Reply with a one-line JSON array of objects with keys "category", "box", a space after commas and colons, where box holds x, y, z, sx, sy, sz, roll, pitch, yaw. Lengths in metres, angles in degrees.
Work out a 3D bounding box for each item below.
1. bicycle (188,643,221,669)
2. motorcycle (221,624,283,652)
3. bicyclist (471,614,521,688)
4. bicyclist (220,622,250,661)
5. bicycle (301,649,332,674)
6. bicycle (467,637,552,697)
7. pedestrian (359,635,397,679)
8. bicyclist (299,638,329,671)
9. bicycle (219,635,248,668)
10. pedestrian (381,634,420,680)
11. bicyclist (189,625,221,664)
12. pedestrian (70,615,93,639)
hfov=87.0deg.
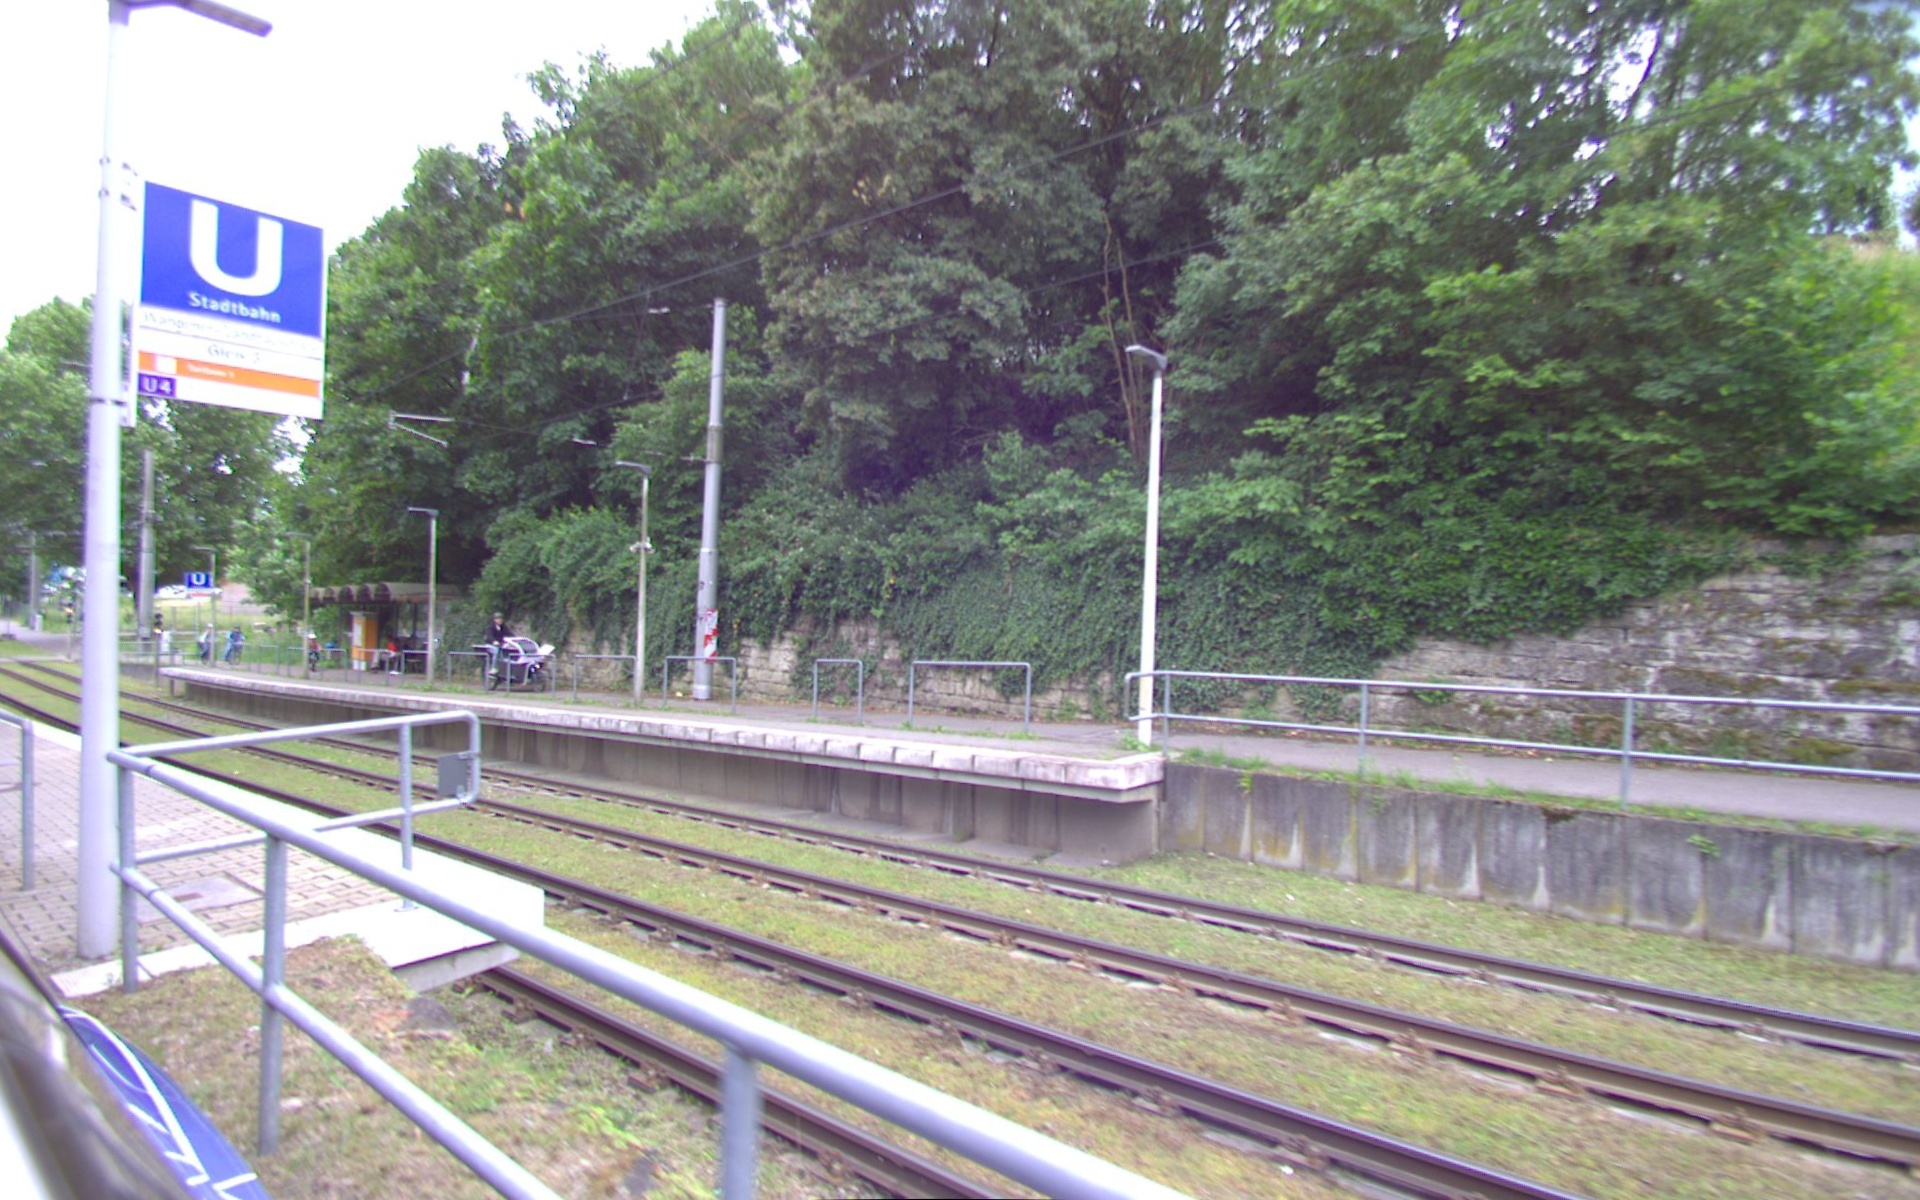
[{"category": "bicycle", "box": [-28.907, 2.139, 38.693, 1.840, 0.932, 0.473, -3, -2, 36]}, {"category": "motorcycle", "box": [-42.753, 2.263, 61.154, 1.247, 1.564, 3.046, 0, 0, 13]}, {"category": "bicyclist", "box": [-10.706, 1.166, 23.359, 1.033, 1.641, 0.696, -3, -1, 44]}, {"category": "bicyclist", "box": [-27.765, 1.603, 38.746, 0.839, 1.454, 0.722, -3, -2, 39]}, {"category": "bicycle", "box": [-21.508, 2.051, 33.819, 1.564, 0.787, 0.445, -3, -2, 41]}, {"category": "bicycle", "box": [-10.245, 1.488, 22.939, 2.867, 1.249, 0.742, -3, -1, 45]}, {"category": "pedestrian", "box": [-18.513, 1.796, 32.201, 0.772, 1.333, 0.813, -1, -1, 35]}, {"category": "bicyclist", "box": [-21.610, 1.827, 33.857, 0.744, 1.061, 0.682, -3, -2, 41]}, {"category": "bicycle", "box": [-27.717, 1.964, 38.618, 1.939, 1.197, 0.458, -3, -2, 41]}, {"category": "pedestrian", "box": [-17.462, 1.768, 31.574, 0.772, 1.385, 0.813, -1, -1, 35]}, {"category": "bicyclist", "box": [-28.885, 1.708, 38.700, 0.905, 1.442, 0.738, -3, -2, 35]}, {"category": "pedestrian", "box": [-62.598, 1.914, 72.115, 1.099, 1.747, 0.696, 0, 0, -22]}]
